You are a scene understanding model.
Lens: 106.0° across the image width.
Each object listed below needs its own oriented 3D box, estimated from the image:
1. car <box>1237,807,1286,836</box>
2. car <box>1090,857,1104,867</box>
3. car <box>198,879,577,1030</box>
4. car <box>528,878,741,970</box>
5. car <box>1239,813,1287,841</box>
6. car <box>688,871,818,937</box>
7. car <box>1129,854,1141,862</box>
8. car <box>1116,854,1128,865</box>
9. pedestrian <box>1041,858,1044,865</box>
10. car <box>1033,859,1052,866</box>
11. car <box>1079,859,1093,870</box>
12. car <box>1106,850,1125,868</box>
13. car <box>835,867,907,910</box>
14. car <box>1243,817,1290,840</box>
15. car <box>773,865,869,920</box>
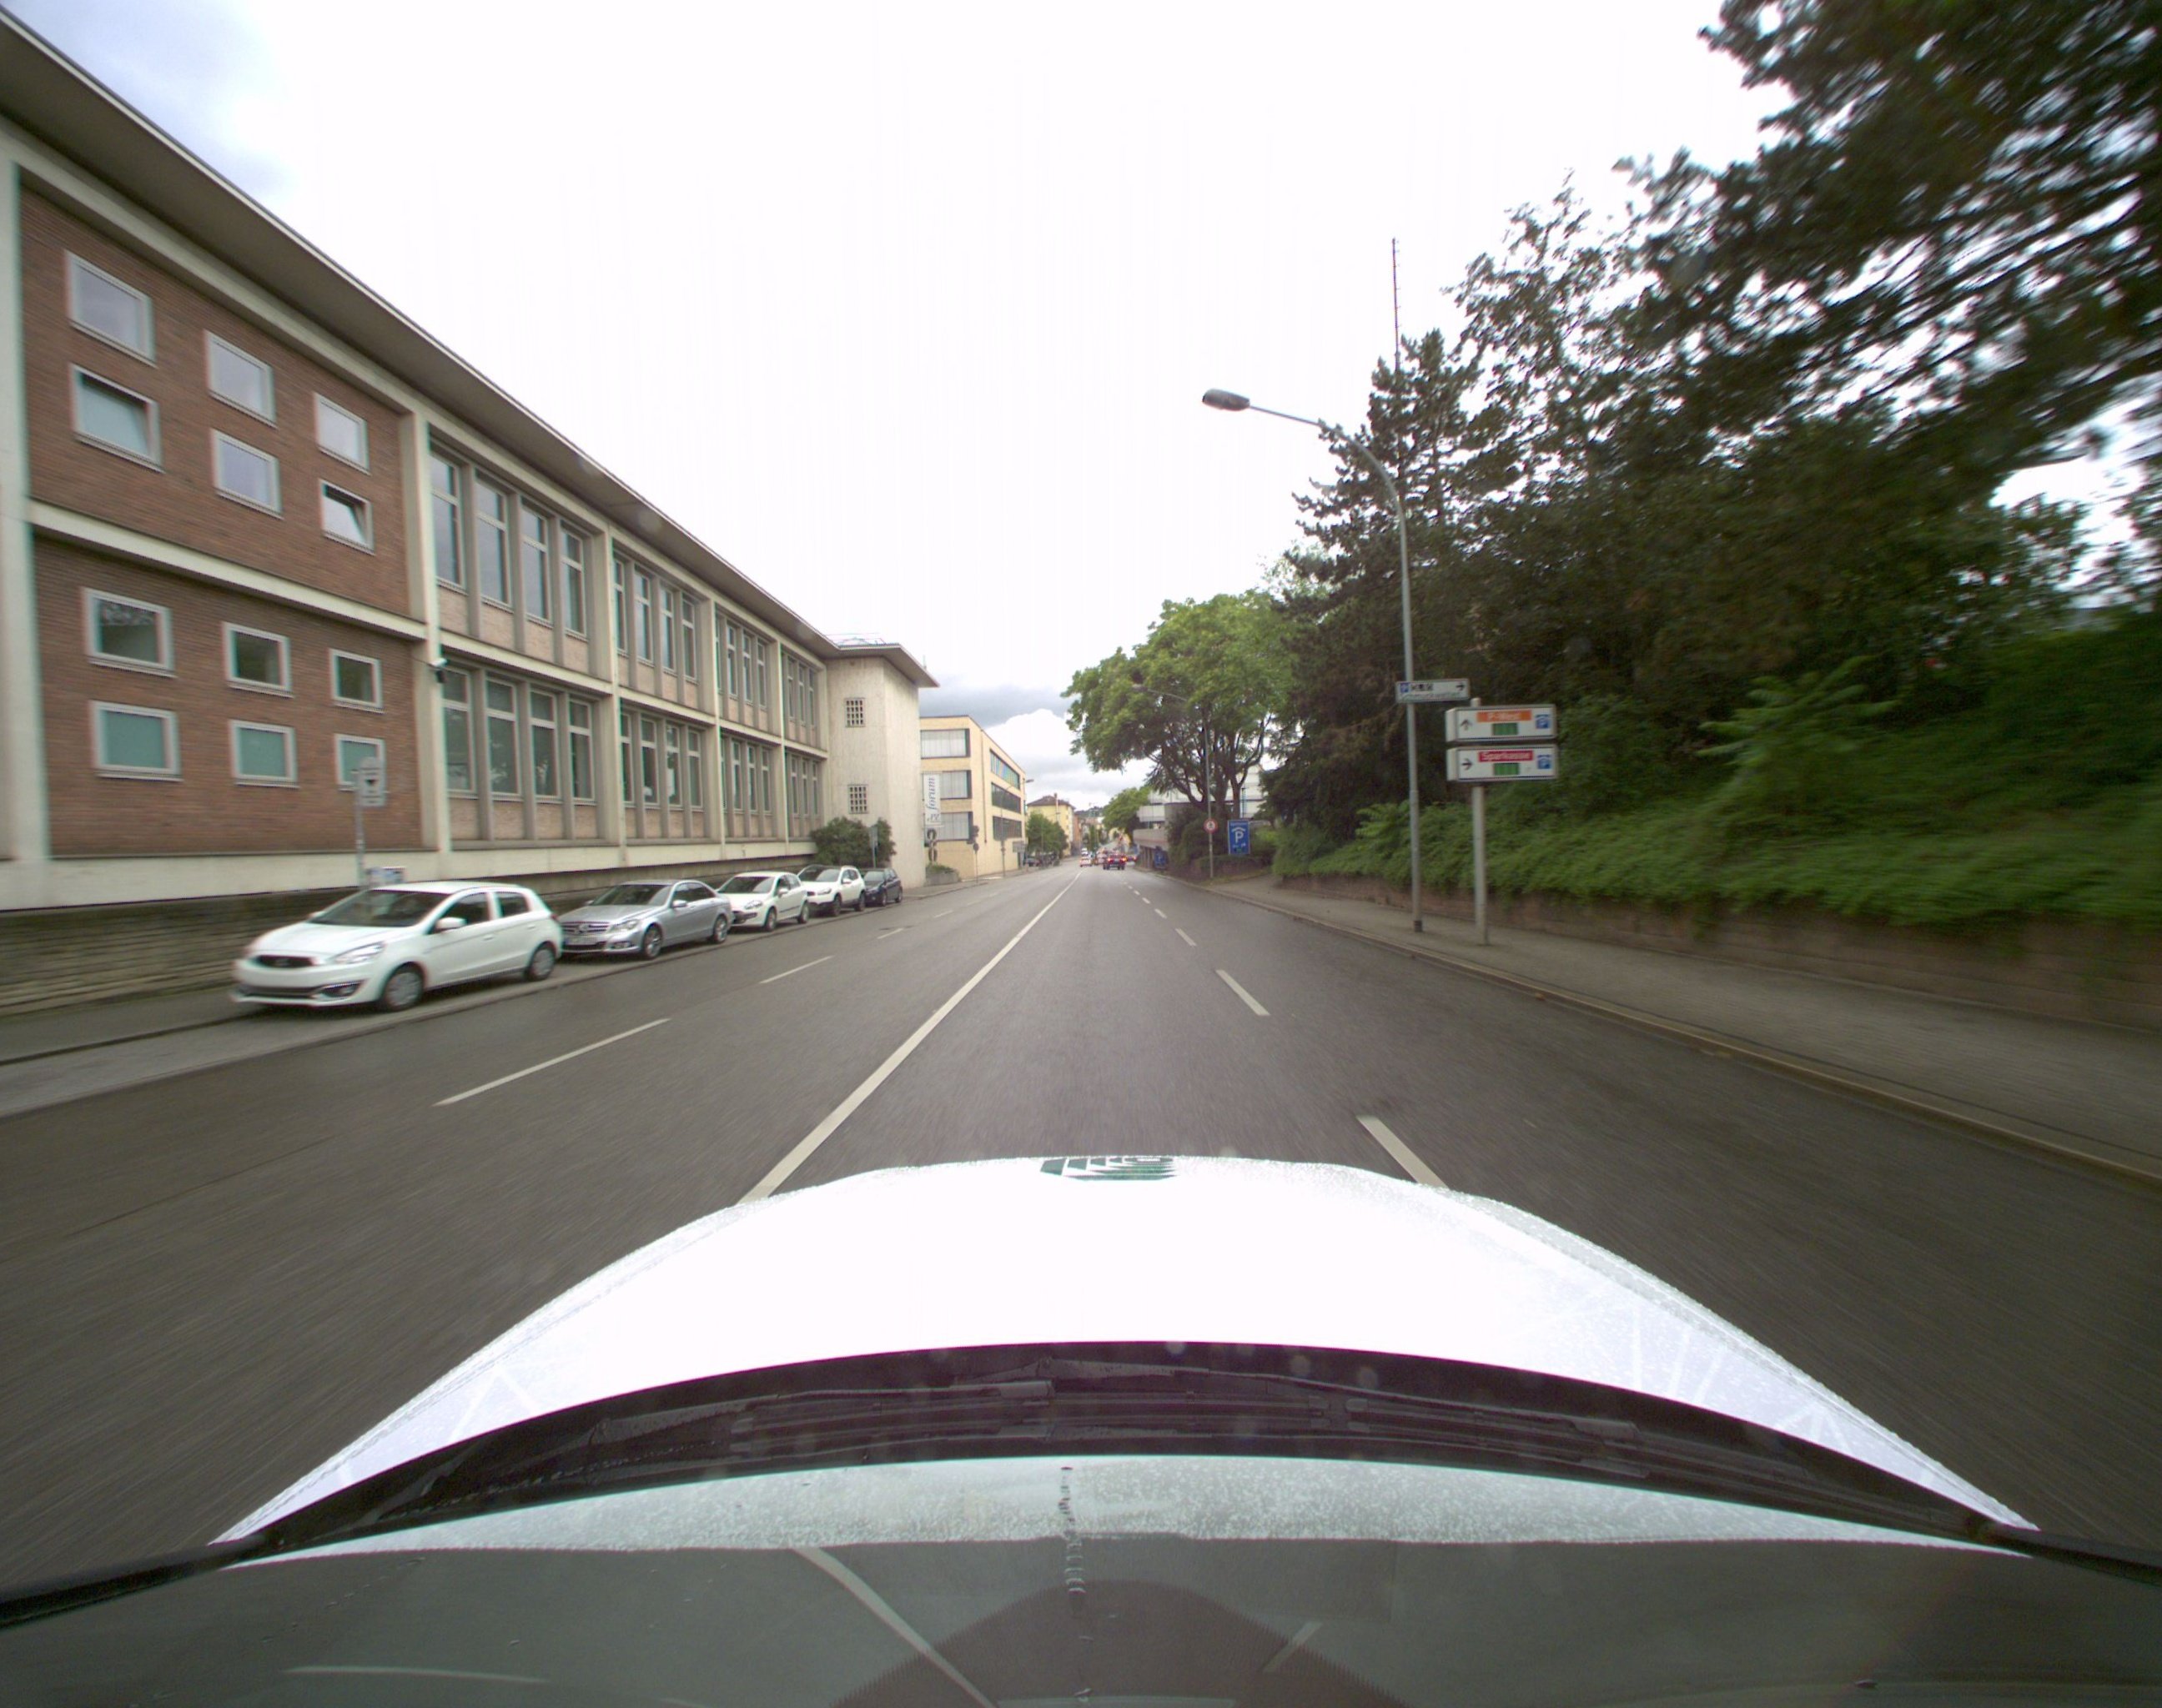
[{"bbox_3d":[13.654,-2.455,61.738,3.429,2.013,1.658,-2,0,9],"label":"car"},{"bbox_3d":[2.666,1.323,136.962,1.989,1.680,3.995,-2,0,-4],"label":"car"},{"bbox_3d":[-8.928,1.181,11.019,1.673,1.522,3.921,-2,0,1],"label":"car"},{"bbox_3d":[-8.590,1.273,16.217,1.742,1.435,4.485,-1,0,0],"label":"car"},{"bbox_3d":[14.541,-2.119,65.143,3.563,2.013,1.600,-2,0,9],"label":"car"},{"bbox_3d":[-8.562,1.252,21.683,1.742,1.454,4.181,-1,0,0],"label":"car"},{"bbox_3d":[11.885,0.863,178.926,1.979,1.680,4.016,-3,0,15],"label":"car"},{"bbox_3d":[7.917,1.048,158.788,2.164,2.004,4.002,-3,0,2],"label":"car"},{"bbox_3d":[-7.193,1.488,153.251,0.450,1.278,0.456,-3,0,12],"label":"pedestrian"},{"bbox_3d":[-7.420,1.623,157.067,3.648,1.235,1.439,-2,0,-5],"label":"car"},{"bbox_3d":[0.775,1.655,128.856,1.989,1.680,3.995,-2,0,-4],"label":"car"},{"bbox_3d":[3.895,0.581,92.831,2.083,1.910,4.102,-2,0,2],"label":"car"},{"bbox_3d":[-8.191,1.294,32.181,1.742,1.480,4.181,-1,0,0],"label":"car"},{"bbox_3d":[15.224,-2.056,67.016,3.601,1.706,1.645,-2,0,9],"label":"car"},{"bbox_3d":[-8.485,1.202,26.999,1.742,1.597,4.182,-1,0,1],"label":"car"}]
